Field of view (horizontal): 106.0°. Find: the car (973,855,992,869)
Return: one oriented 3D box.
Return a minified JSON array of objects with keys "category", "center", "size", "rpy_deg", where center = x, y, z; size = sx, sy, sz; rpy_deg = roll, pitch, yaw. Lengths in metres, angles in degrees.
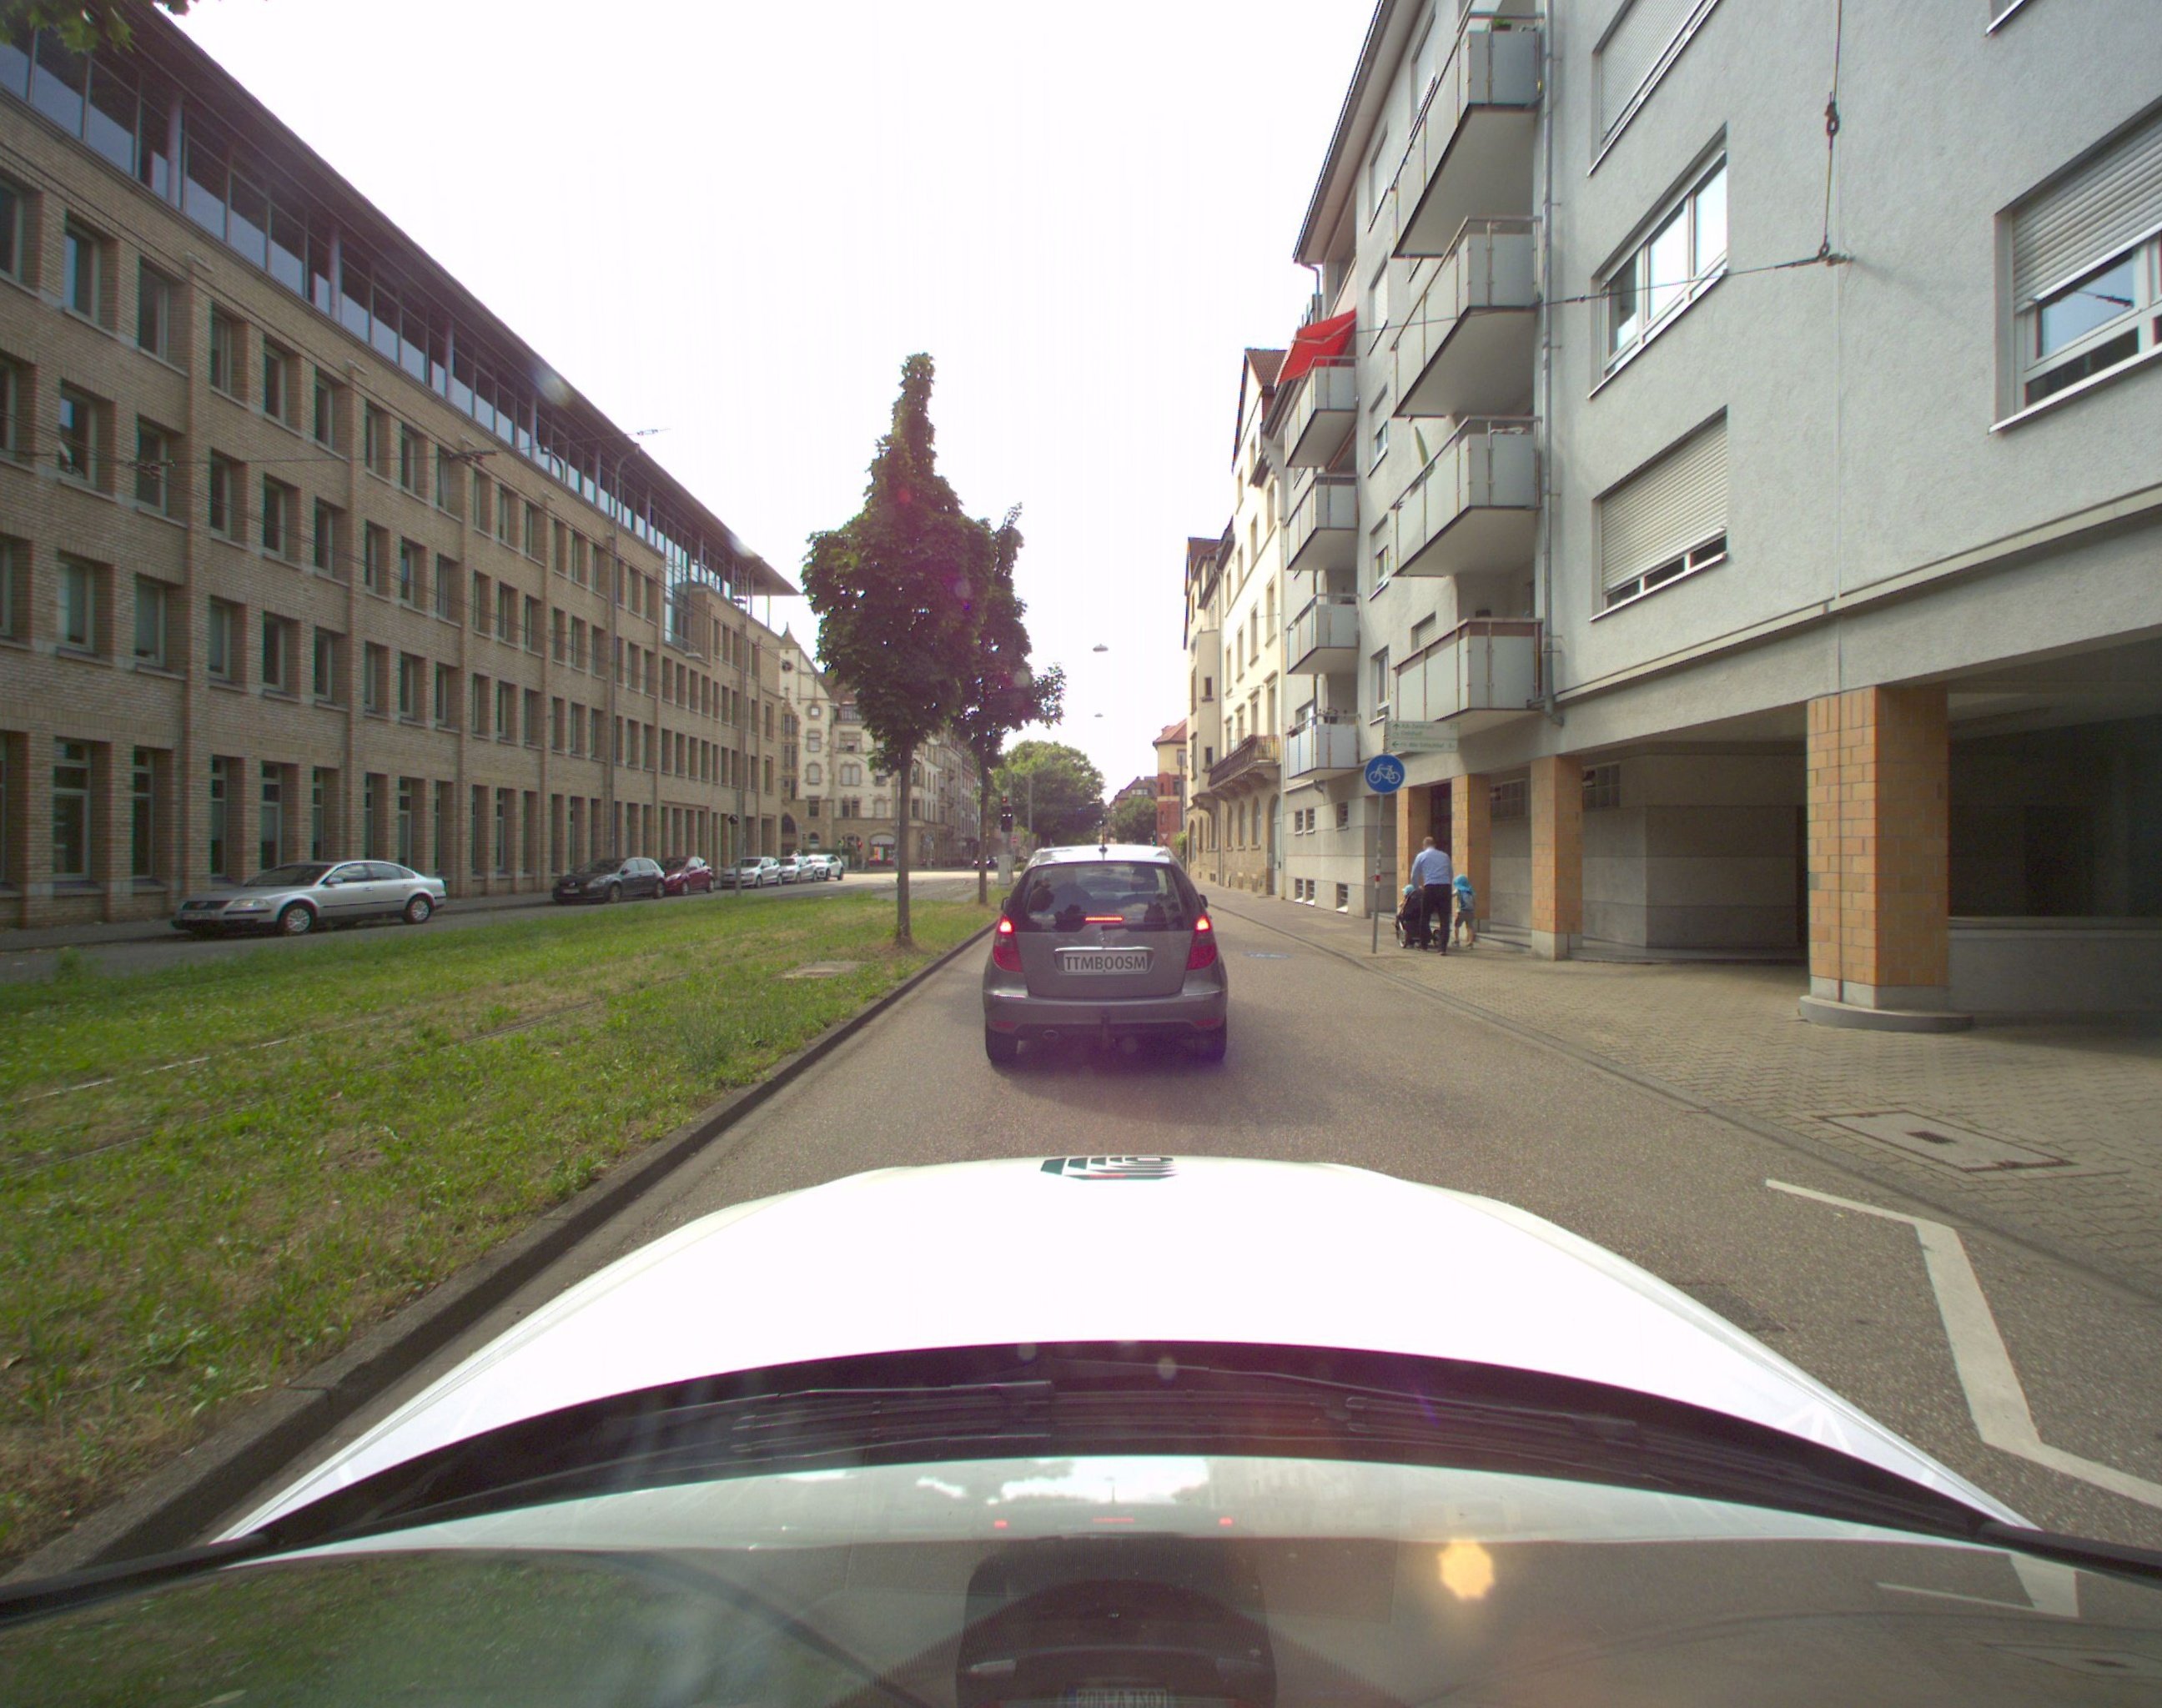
[{"category":"car","center":[-11.615,0.934,96.155],"size":[1.990,1.618,3.994],"rpy_deg":[-1,0,-4]}]

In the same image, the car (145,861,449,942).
[{"category":"car","center":[-15.520,0.856,16.554],"size":[1.708,1.396,4.486],"rpy_deg":[0,0,2]}]

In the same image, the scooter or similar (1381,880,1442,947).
[{"category":"scooter or similar","center":[5.396,0.957,13.344],"size":[0.590,1.002,0.906],"rpy_deg":[-4,0,2]}]

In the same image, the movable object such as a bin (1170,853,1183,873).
[{"category":"movable object such as a bin","center":[6.982,0.676,59.626],"size":[0.714,1.472,0.980],"rpy_deg":[-1,-1,-8]}]

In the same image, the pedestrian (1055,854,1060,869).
[{"category":"pedestrian","center":[-2.730,0.819,93.806],"size":[0.492,1.725,0.652],"rpy_deg":[0,-1,-8]}]

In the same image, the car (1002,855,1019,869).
[{"category":"car","center":[-8.436,0.955,97.617],"size":[1.990,1.728,3.994],"rpy_deg":[-1,0,-4]}]

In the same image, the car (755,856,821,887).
[{"category":"car","center":[-15.403,0.888,43.007],"size":[1.925,1.530,4.016],"rpy_deg":[0,0,2]}]

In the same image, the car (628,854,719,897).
[{"category":"car","center":[-15.420,0.786,31.041],"size":[1.577,1.530,3.551],"rpy_deg":[0,0,2]}]

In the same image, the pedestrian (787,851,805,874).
[{"category":"pedestrian","center":[-21.871,0.673,62.496],"size":[1.029,1.722,0.767],"rpy_deg":[1,-1,-43]}]

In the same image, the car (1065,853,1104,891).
[{"category":"car","center":[0.207,0.827,38.985],"size":[1.716,1.706,3.678],"rpy_deg":[-1,0,2]}]

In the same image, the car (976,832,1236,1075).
[{"category":"car","center":[0.225,0.673,7.275],"size":[1.716,1.605,3.678],"rpy_deg":[-1,0,2]}]

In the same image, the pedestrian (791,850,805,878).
[{"category":"pedestrian","center":[-18.338,0.658,52.721],"size":[0.763,1.795,0.952],"rpy_deg":[0,-1,-24]}]

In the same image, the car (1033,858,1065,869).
[{"category":"car","center":[-3.916,1.119,98.857],"size":[1.984,1.339,3.954],"rpy_deg":[0,0,-38]}]

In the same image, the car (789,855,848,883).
[{"category":"car","center":[-15.223,0.832,47.516],"size":[1.925,1.535,4.260],"rpy_deg":[0,0,2]}]

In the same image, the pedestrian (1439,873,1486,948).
[{"category":"pedestrian","center":[6.049,0.887,12.929],"size":[0.454,1.135,0.494],"rpy_deg":[-3,0,1]}]

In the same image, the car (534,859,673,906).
[{"category":"car","center":[-15.397,0.857,26.562],"size":[1.925,1.396,4.241],"rpy_deg":[0,0,2]}]

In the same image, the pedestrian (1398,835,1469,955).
[{"category":"pedestrian","center":[5.389,0.608,12.495],"size":[0.618,1.738,0.877],"rpy_deg":[-4,0,2]}]

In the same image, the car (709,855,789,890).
[{"category":"car","center":[-15.273,0.828,37.718],"size":[1.844,1.530,4.212],"rpy_deg":[0,0,2]}]

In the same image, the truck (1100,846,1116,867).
[{"category":"truck","center":[3.878,0.348,116.813],"size":[2.113,2.970,4.005],"rpy_deg":[-1,0,5]}]
